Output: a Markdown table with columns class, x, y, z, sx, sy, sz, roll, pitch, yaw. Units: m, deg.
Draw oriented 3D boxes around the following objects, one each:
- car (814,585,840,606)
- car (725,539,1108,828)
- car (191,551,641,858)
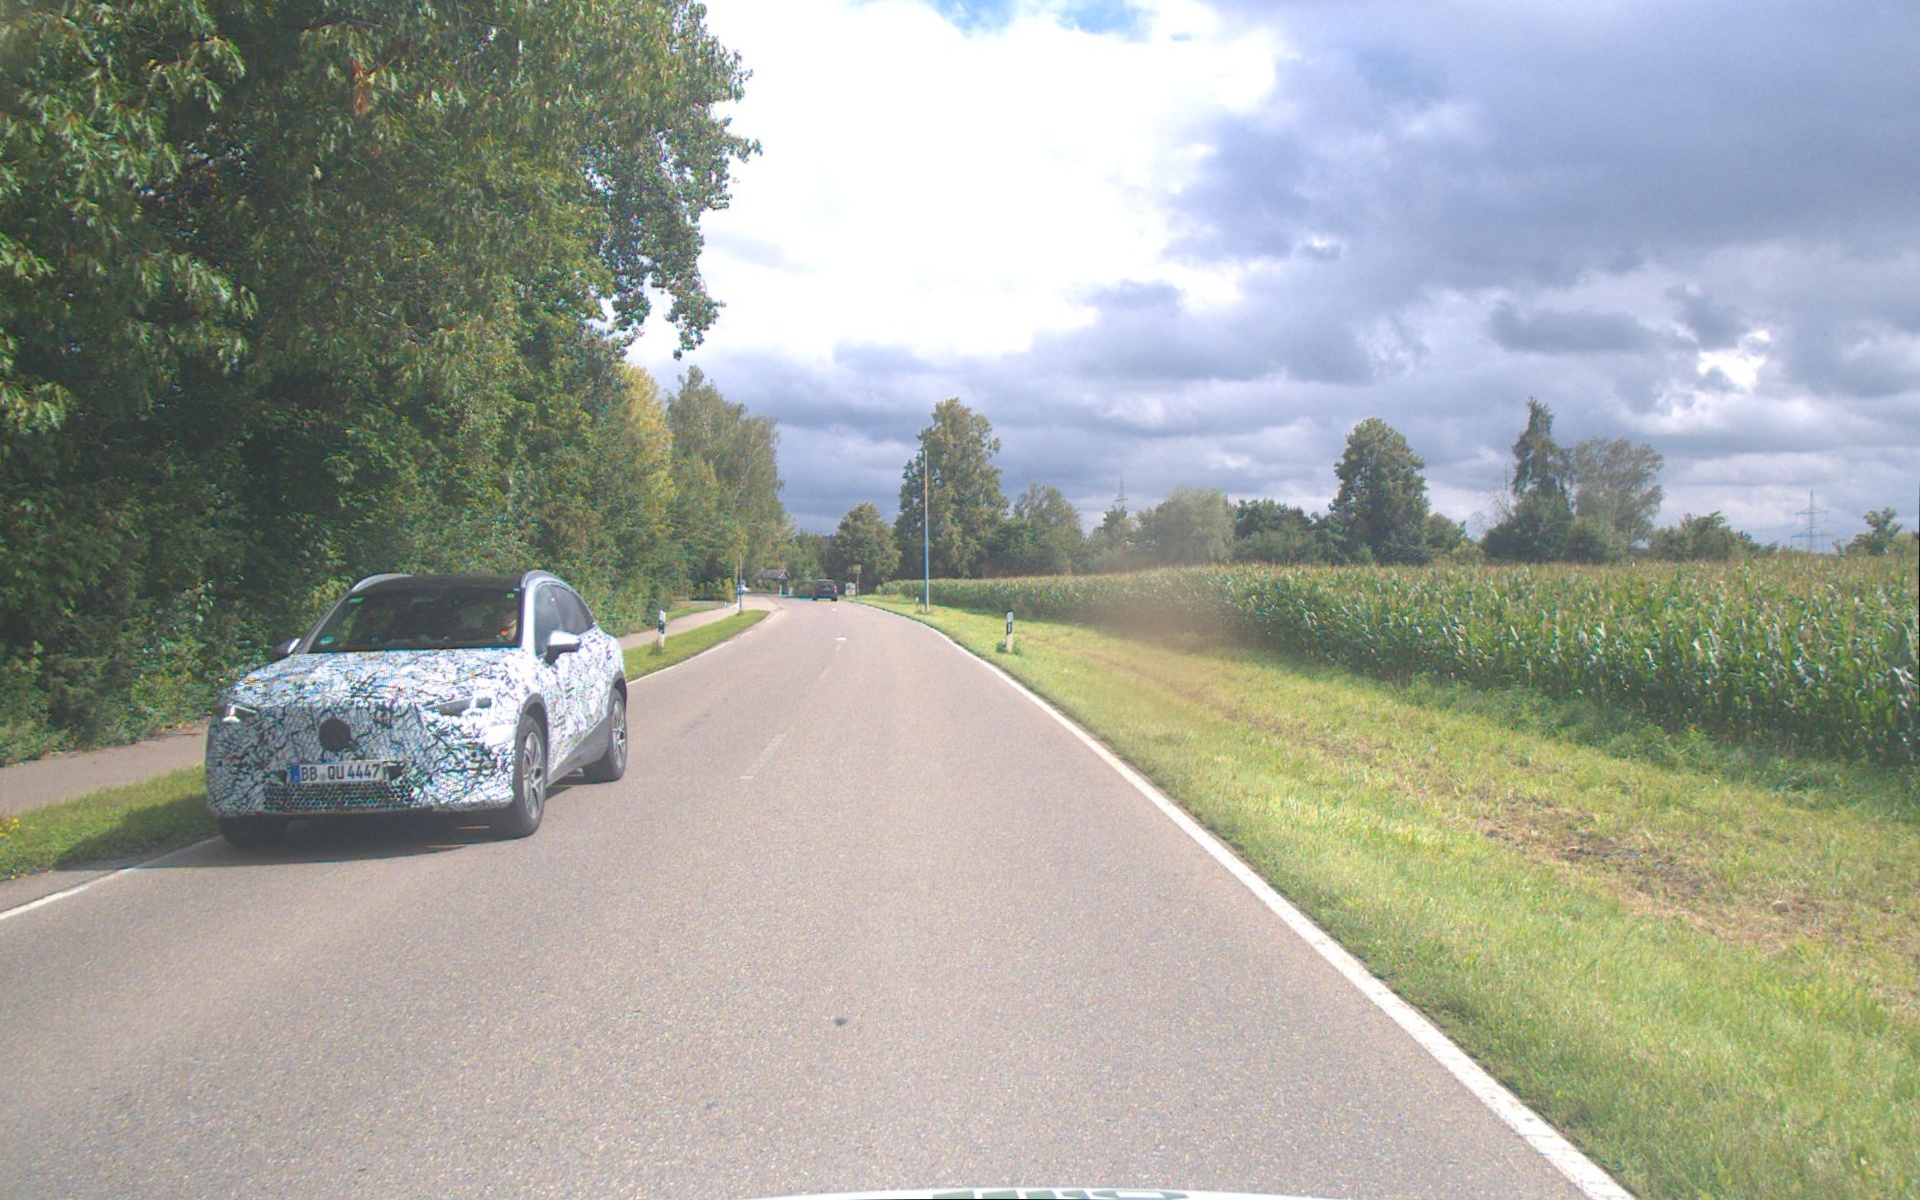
| class | x | y | z | sx | sy | sz | roll | pitch | yaw |
| --- | --- | --- | --- | --- | --- | --- | --- | --- | --- |
| car | -10.632 | -0.332 | 132.319 | 1.955 | 1.612 | 3.995 | 2 | 0 | -6 |
| car | -0.537 | 0.606 | 13.960 | 1.965 | 2.049 | 3.975 | 2 | 0 | -21 |
| car | -3.484 | 0.565 | 11.504 | 1.774 | 1.679 | 4.291 | -2 | 1 | -2 |
